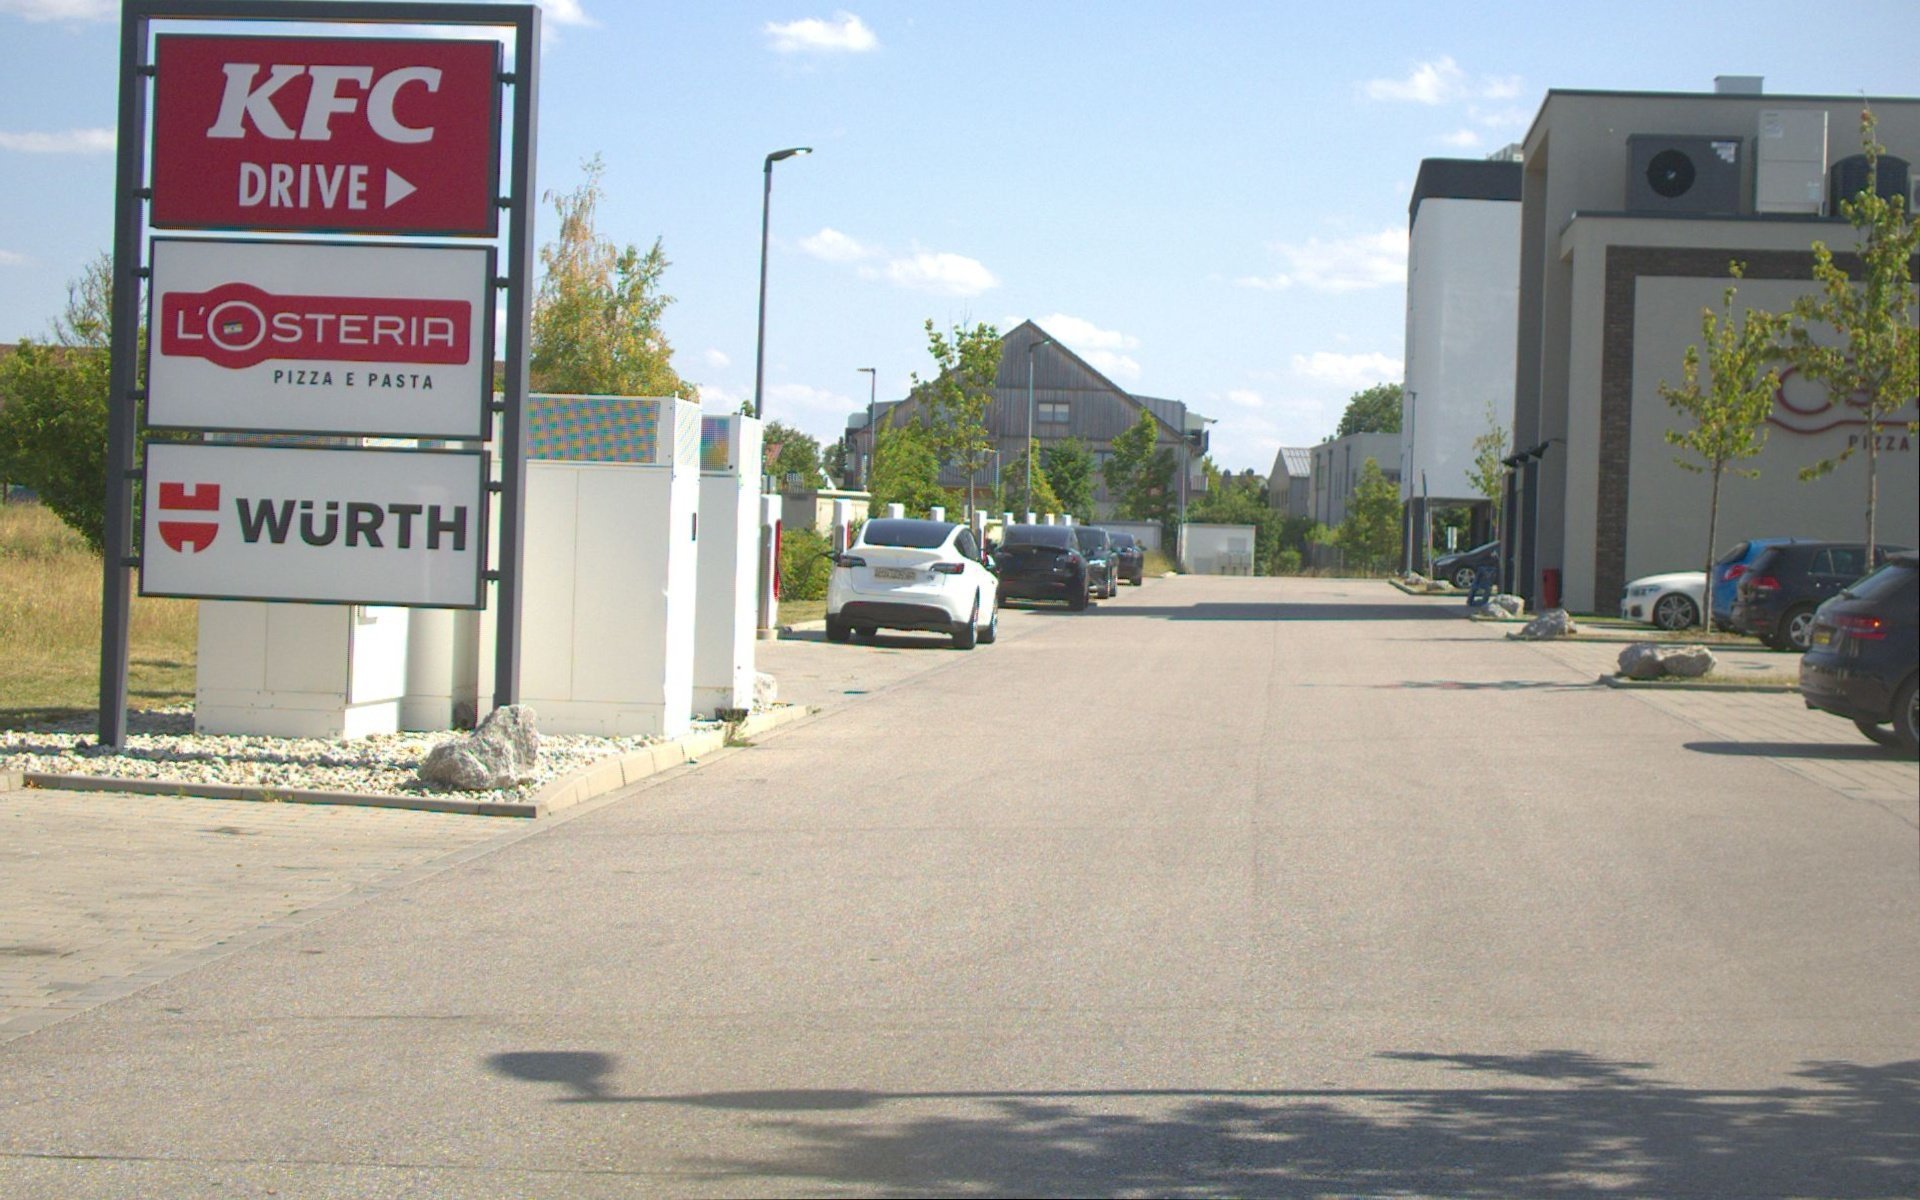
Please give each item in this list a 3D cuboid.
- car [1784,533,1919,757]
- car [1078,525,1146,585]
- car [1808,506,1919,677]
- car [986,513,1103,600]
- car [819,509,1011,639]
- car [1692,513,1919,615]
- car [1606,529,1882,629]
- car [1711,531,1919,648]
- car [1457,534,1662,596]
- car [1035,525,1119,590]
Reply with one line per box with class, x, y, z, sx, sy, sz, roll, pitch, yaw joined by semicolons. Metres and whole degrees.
car;7.853;0.348;23.170;4.201;1.436;1.698;2;1;5
car;4.225;-1.266;95.358;1.743;1.563;4.000;2;1;4
car;11.032;-0.040;34.926;4.370;1.679;1.642;2;1;1
car;1.673;-0.862;66.500;1.945;1.563;3.999;2;1;5
car;-0.538;-0.371;45.286;1.945;1.563;3.999;2;1;7
car;13.245;-0.537;51.985;3.987;1.415;1.651;2;1;2
car;12.427;-0.343;54.678;3.987;1.415;1.651;2;1;2
car;12.017;-0.120;44.999;3.987;1.415;1.651;2;1;2
car;12.416;-0.741;71.367;3.987;1.152;2.000;2;2;4
car;2.701;-0.986;78.498;1.743;1.382;4.000;2;1;4
